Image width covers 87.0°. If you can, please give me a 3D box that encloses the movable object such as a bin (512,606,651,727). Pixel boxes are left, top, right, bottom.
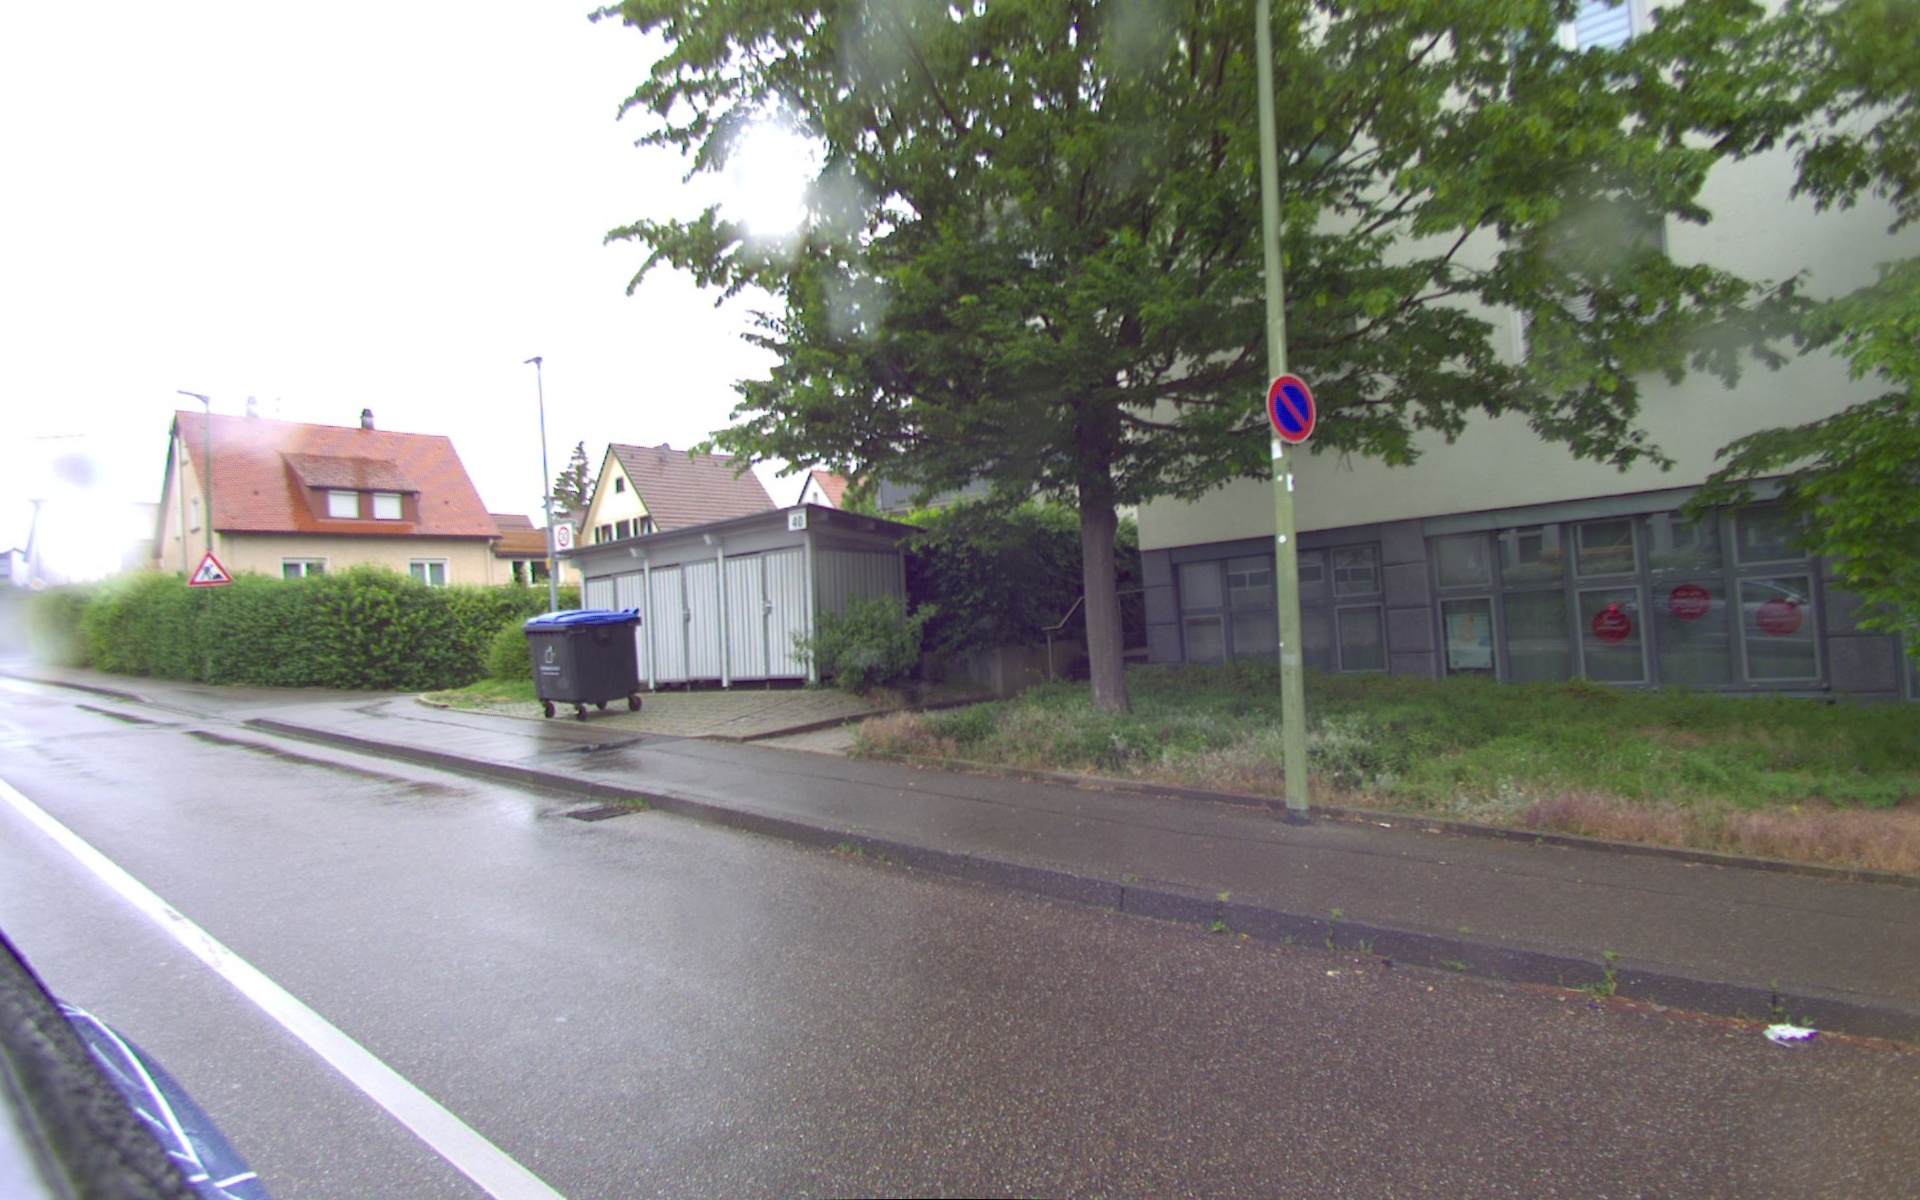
[{"bbox_3d":[-4.746,0.798,12.677,1.317,1.357,1.061,-2,1,39],"label":"movable object such as a bin"}]
